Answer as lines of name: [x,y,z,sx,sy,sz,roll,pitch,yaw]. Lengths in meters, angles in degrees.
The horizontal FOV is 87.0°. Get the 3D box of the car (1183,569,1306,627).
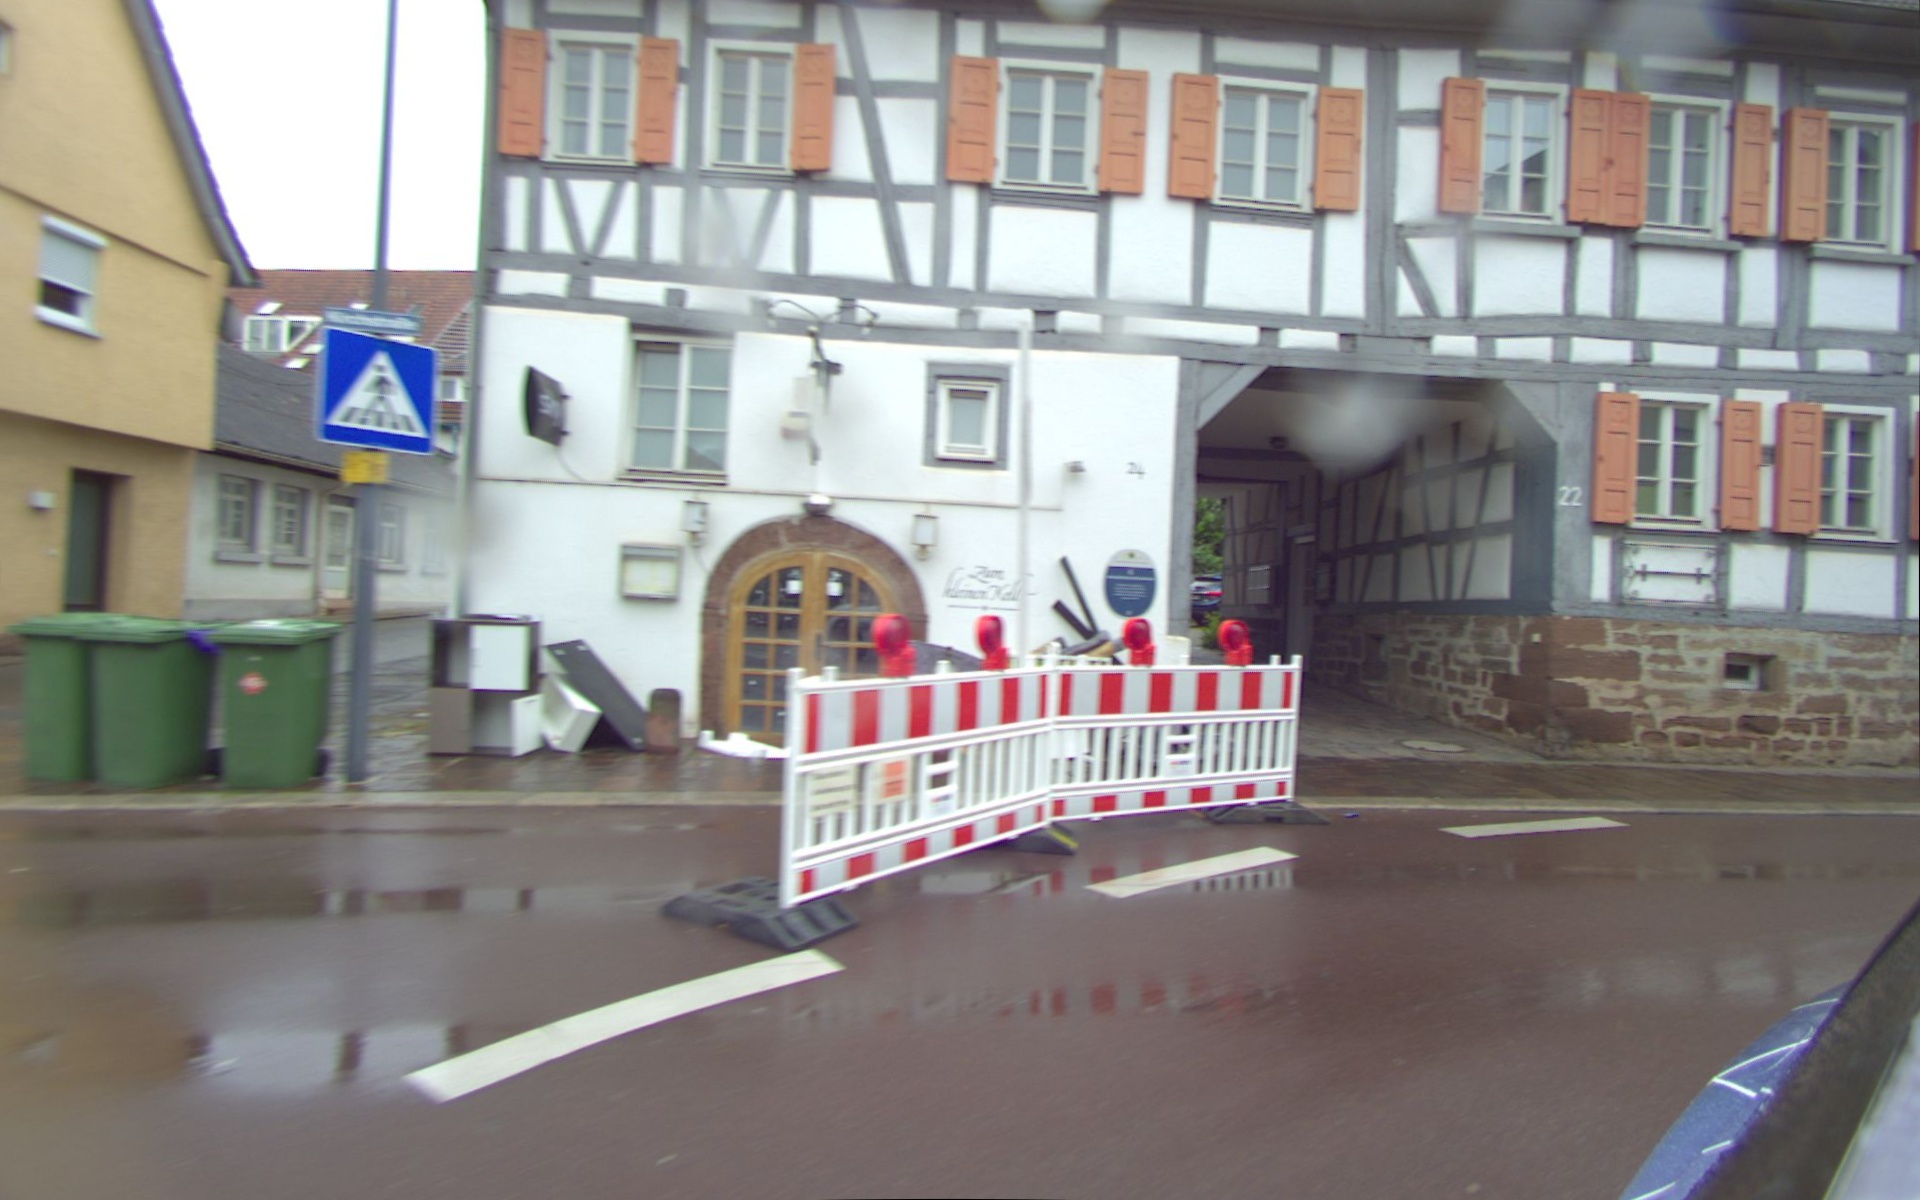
car: [7.592,-0.053,27.209,2.933,1.469,1.410,1,0,5]

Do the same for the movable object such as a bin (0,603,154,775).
movable object such as a bin: [-5.947,0.569,6.804,0.574,1.079,0.682,1,1,-10]

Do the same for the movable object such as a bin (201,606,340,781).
movable object such as a bin: [-4.569,0.599,6.749,0.528,1.079,0.682,1,1,-11]

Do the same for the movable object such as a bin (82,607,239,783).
movable object such as a bin: [-5.262,0.596,6.685,0.531,1.079,0.616,1,1,11]
